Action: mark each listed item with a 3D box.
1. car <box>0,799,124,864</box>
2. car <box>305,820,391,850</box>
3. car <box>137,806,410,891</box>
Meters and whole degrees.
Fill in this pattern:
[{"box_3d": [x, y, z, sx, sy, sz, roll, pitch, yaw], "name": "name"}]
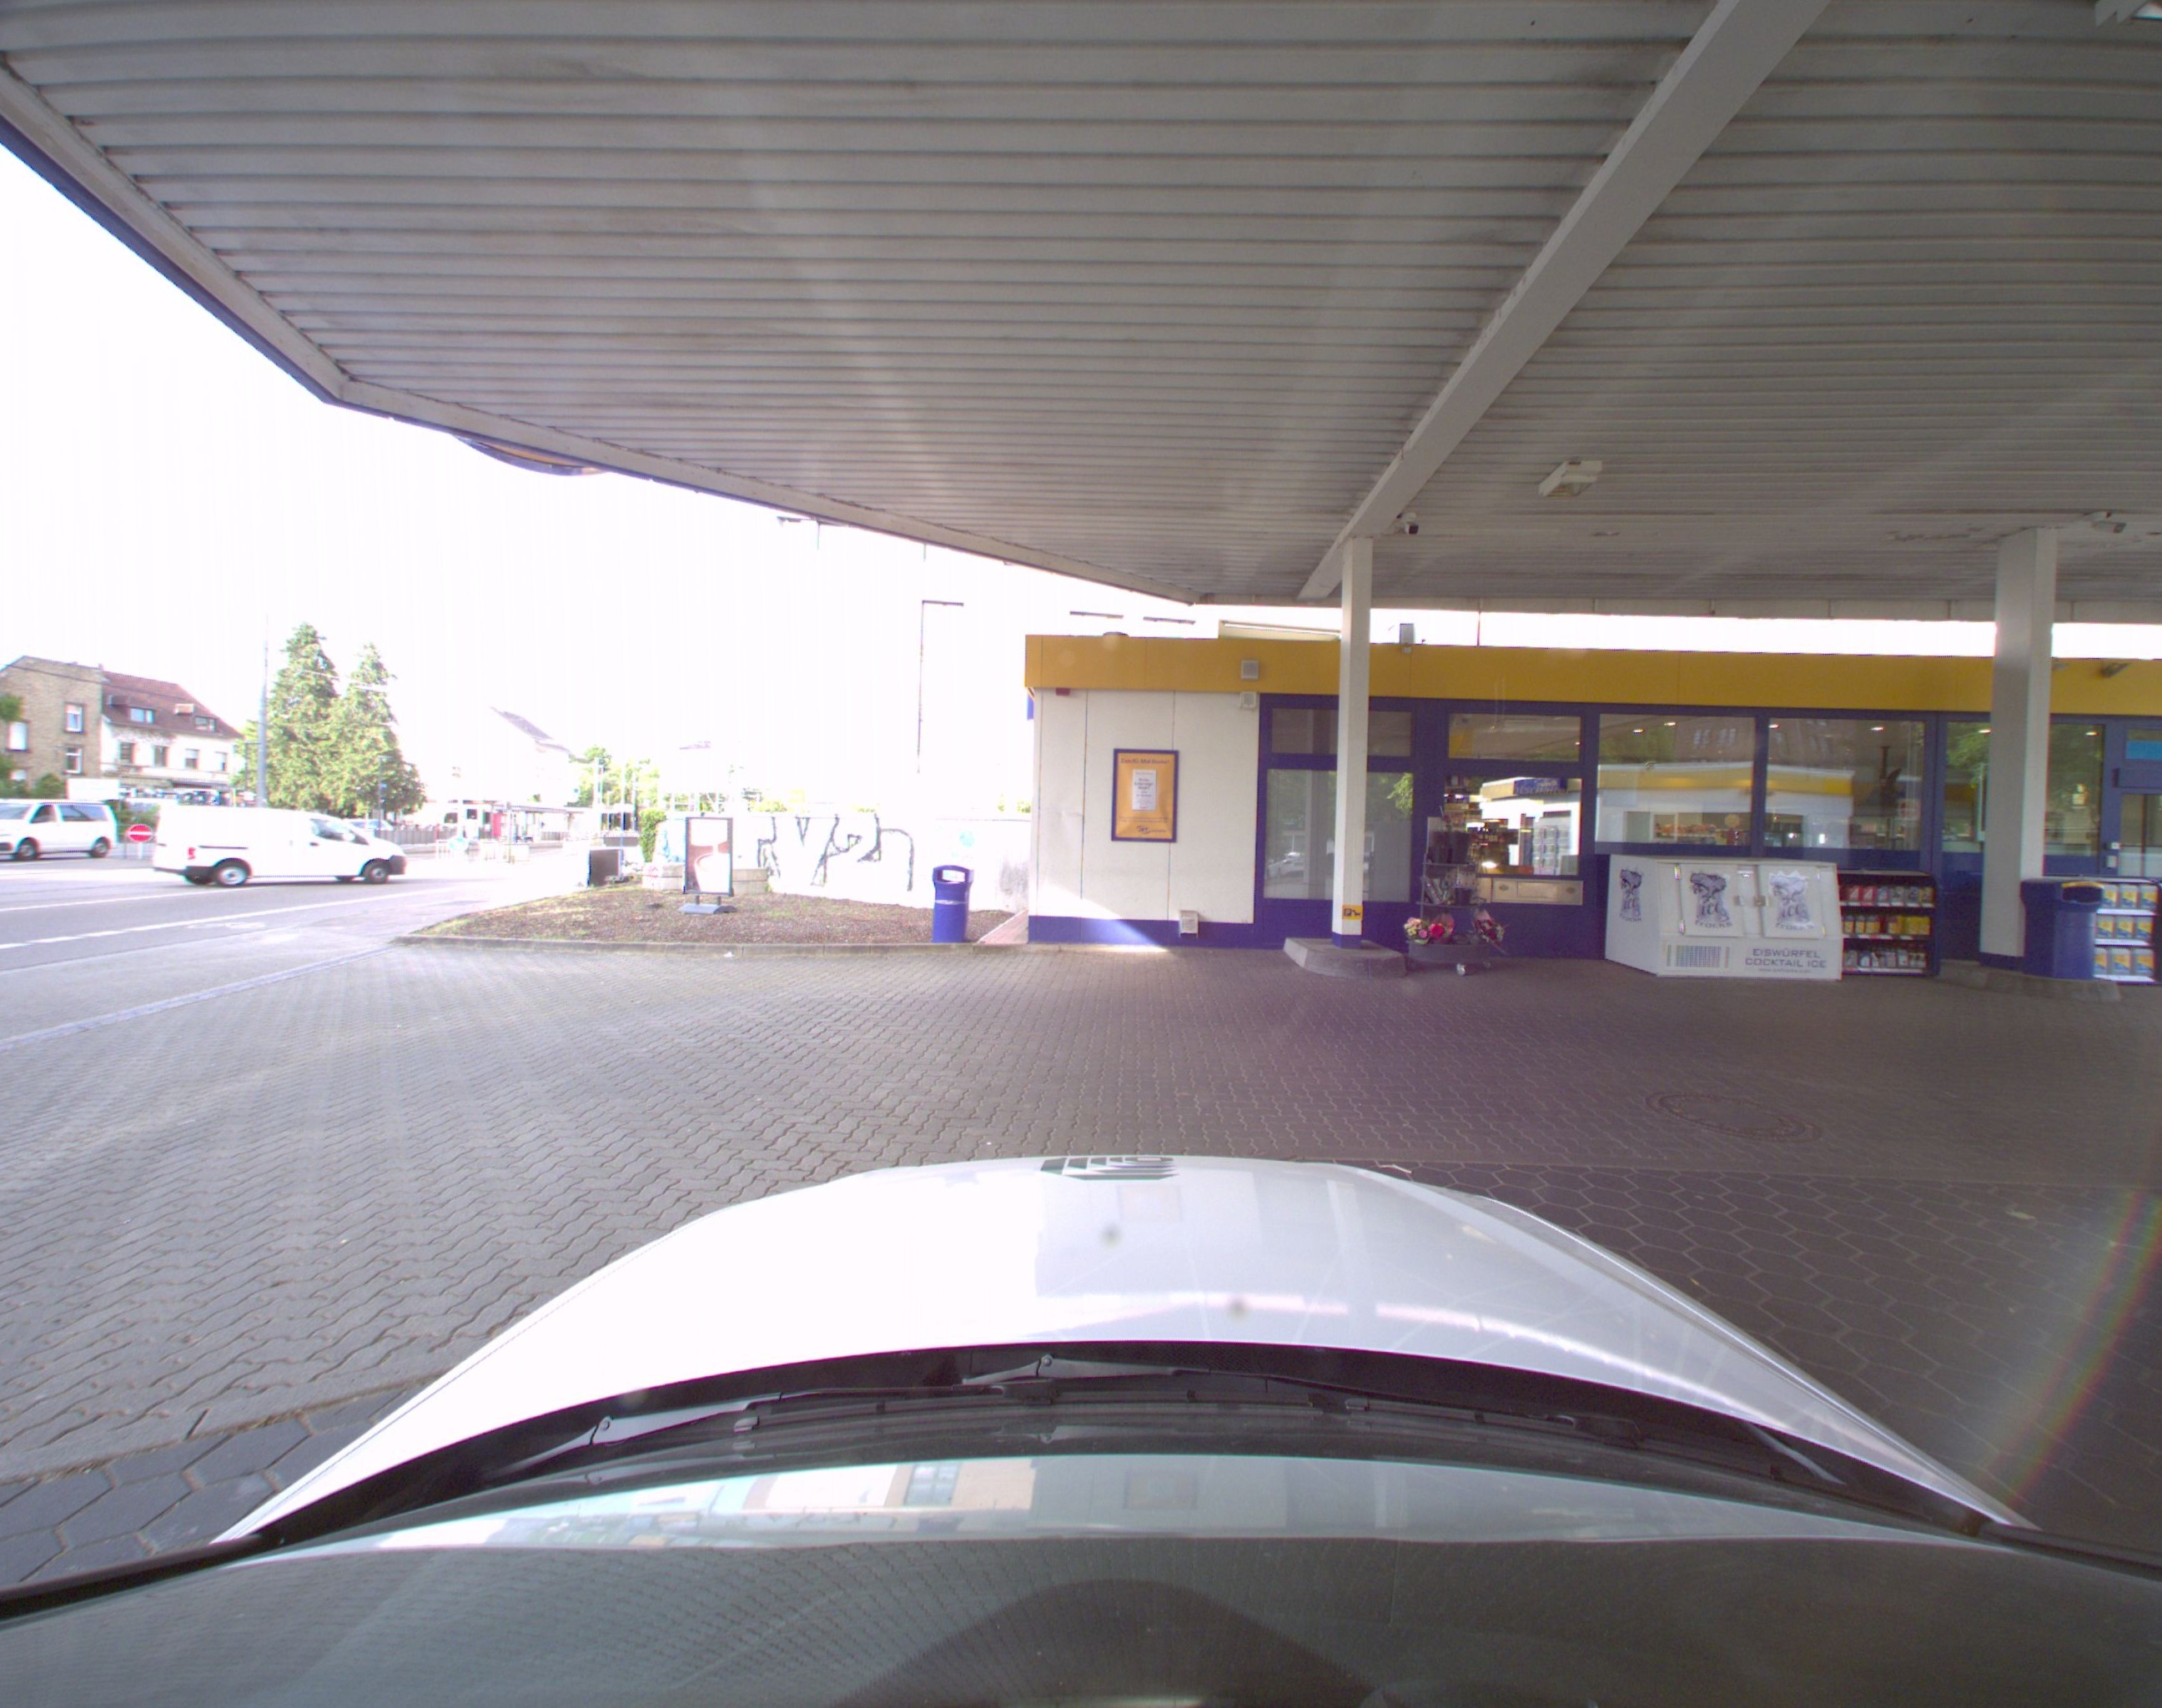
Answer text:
[{"box_3d": [-34.401, -0.778, 26.637, 2.002, 1.968, 4.853, 1, 2, -23], "name": "car"}, {"box_3d": [-40.431, -1.105, 45.069, 1.839, 1.576, 4.357, 0, 2, -17], "name": "car"}, {"box_3d": [-19.962, -0.140, 20.382, 1.944, 1.889, 4.438, 2, 0, 28], "name": "car"}]
